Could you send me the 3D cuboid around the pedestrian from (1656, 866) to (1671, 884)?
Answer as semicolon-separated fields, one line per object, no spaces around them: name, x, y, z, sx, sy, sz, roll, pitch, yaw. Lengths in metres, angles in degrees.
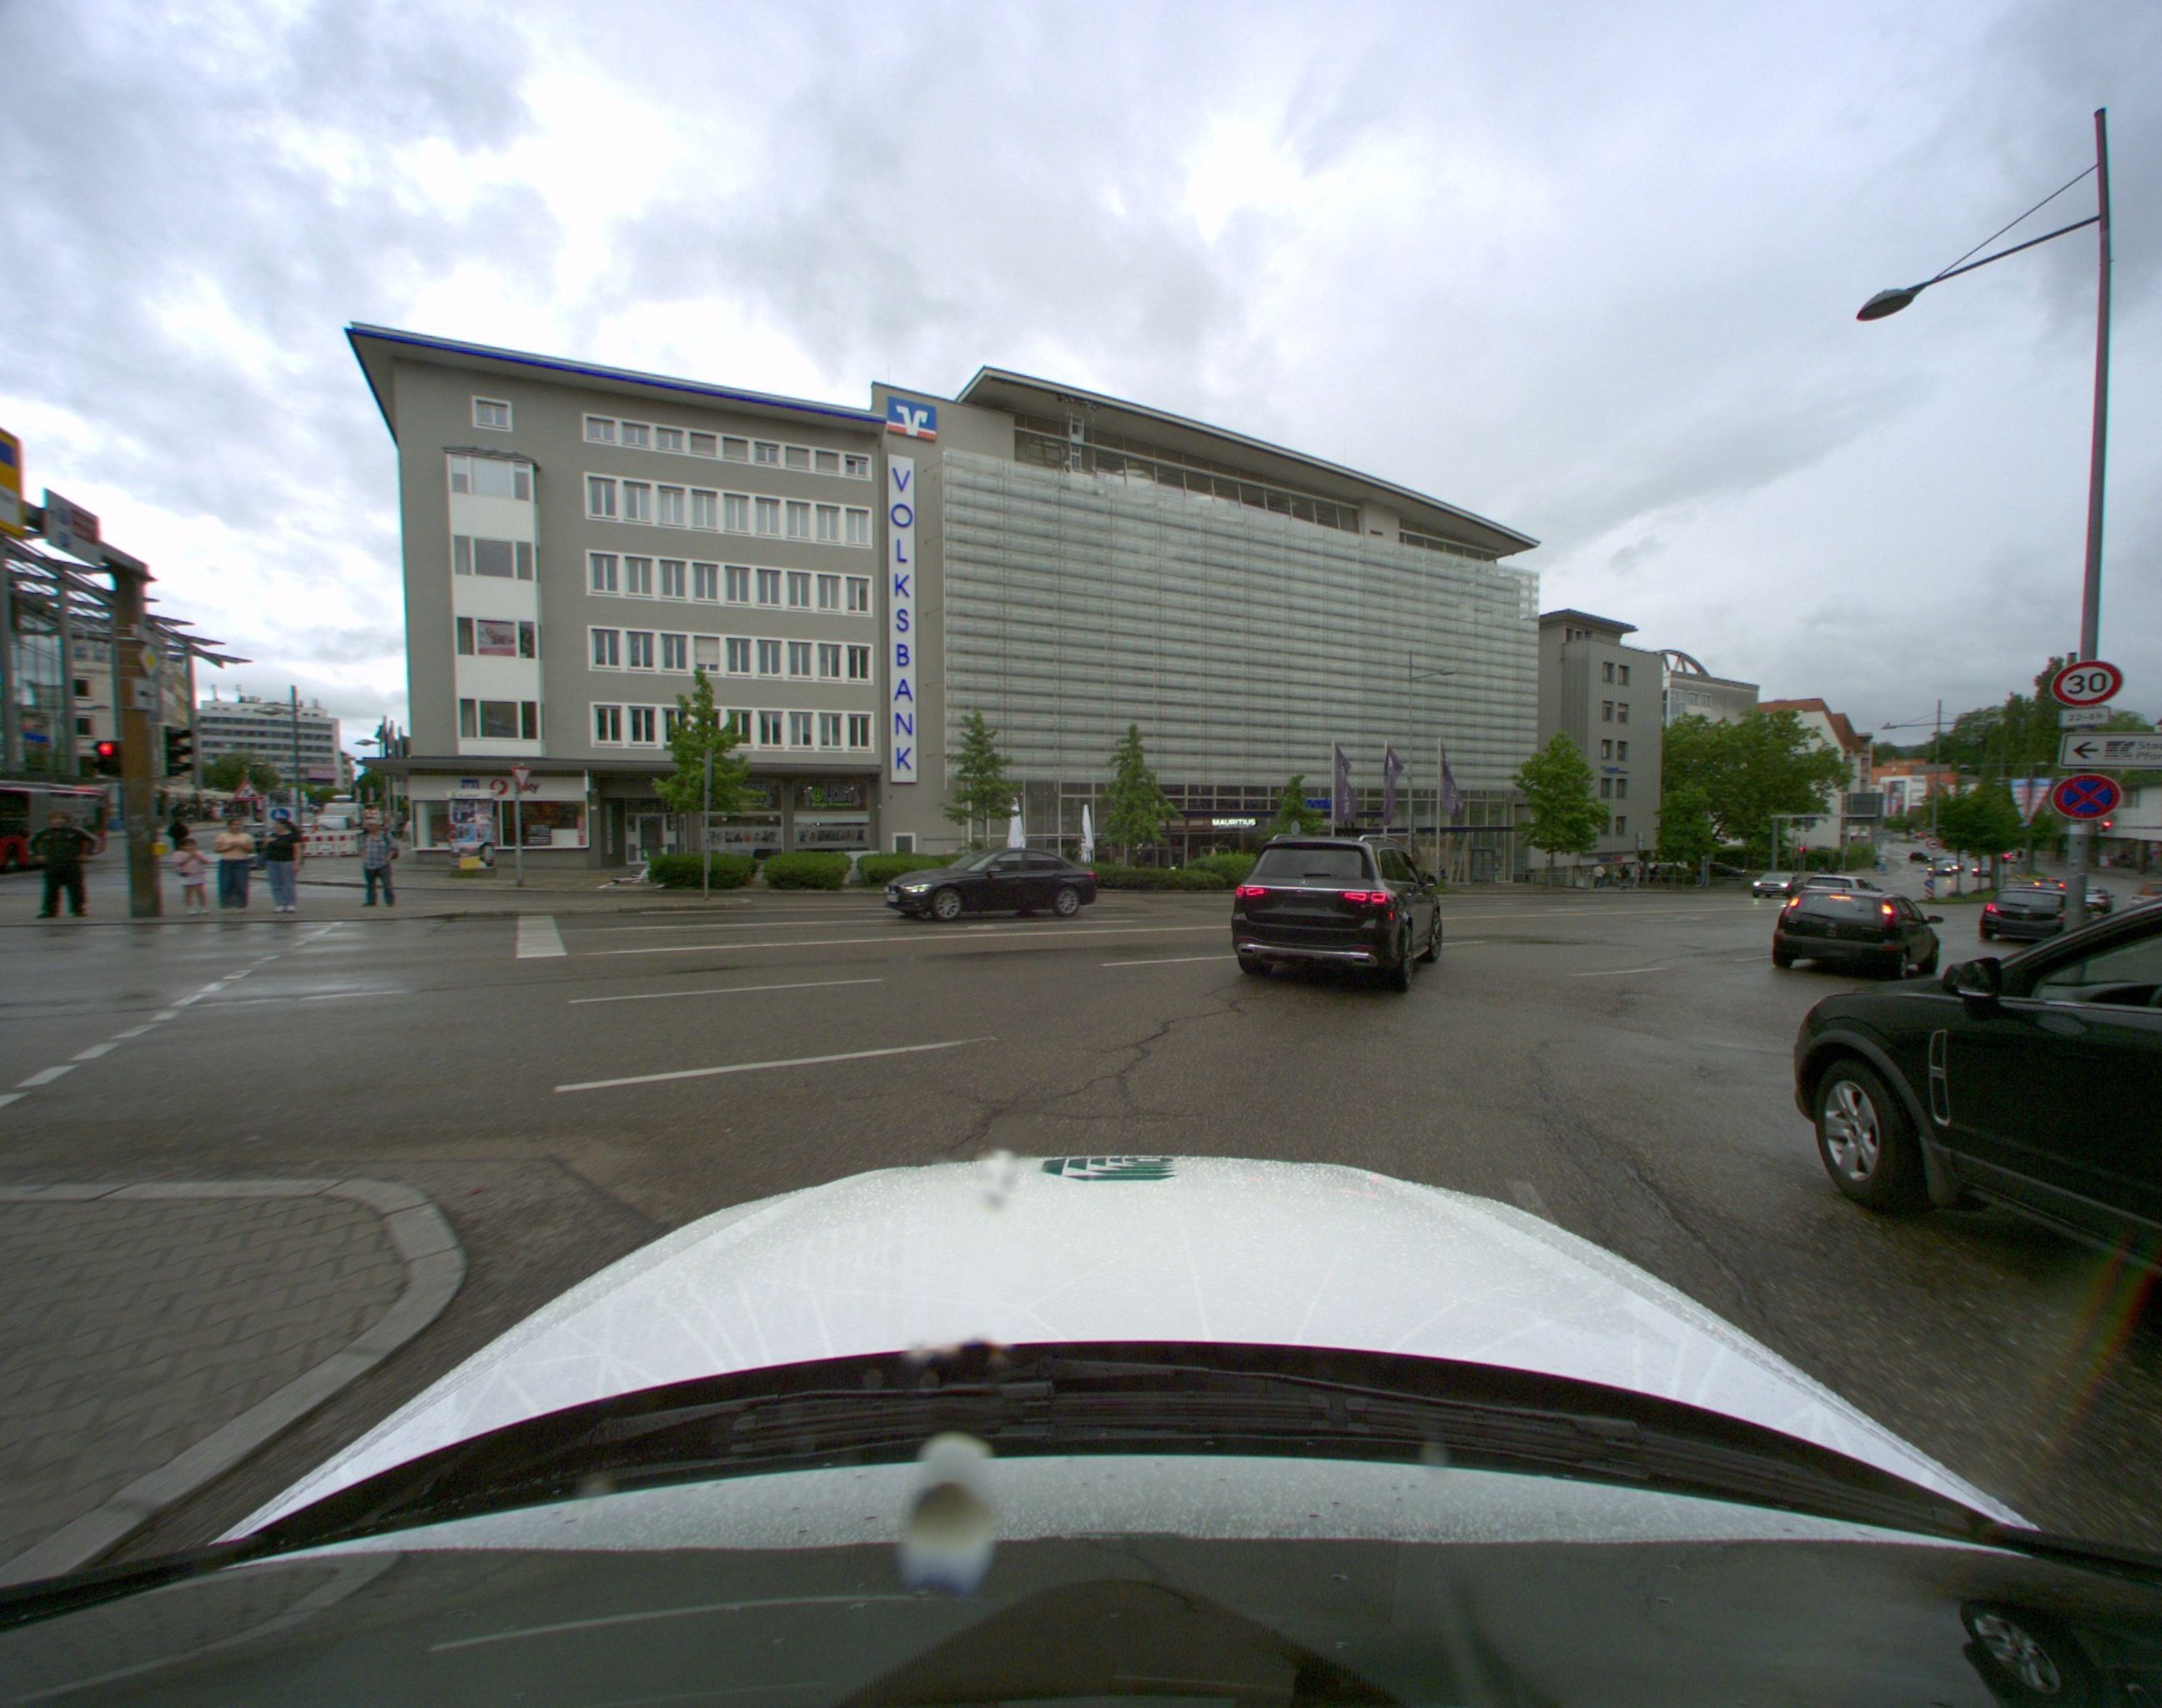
pedestrian;58.330;2.127;81.568;0.952;1.722;0.754;1;0;-21

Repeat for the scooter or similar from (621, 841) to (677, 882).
scooter or similar;-14.507;0.241;27.418;1.500;1.256;0.926;1;5;-17

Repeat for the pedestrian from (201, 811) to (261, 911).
pedestrian;-14.475;0.116;13.881;0.572;1.668;0.497;0;1;-30

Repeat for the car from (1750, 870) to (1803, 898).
car;41.009;1.724;48.096;1.823;1.552;4.119;0;-1;33

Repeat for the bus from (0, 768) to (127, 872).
bus;-37.124;-1.131;27.013;2.943;3.320;18.276;0;1;-36

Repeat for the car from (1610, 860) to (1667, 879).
car;63.729;1.795;93.113;5.026;1.758;2.012;5;3;44

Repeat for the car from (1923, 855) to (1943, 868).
car;117.134;1.028;112.017;4.023;1.549;1.762;1;2;-45

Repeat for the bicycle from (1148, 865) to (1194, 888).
bicycle;4.294;1.063;38.780;2.146;0.993;0.689;0;1;-23

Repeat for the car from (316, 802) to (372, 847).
car;-51.582;-2.041;57.108;2.464;2.957;6.083;1;1;-39

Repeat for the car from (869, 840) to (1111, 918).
car;-1.816;0.483;17.054;4.653;1.425;1.978;1;0;-36

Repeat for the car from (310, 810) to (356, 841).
car;-47.649;-1.805;51.951;1.876;1.826;4.057;1;1;-39

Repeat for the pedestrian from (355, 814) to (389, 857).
pedestrian;-29.837;-0.756;34.274;1.031;1.775;0.790;1;0;-42

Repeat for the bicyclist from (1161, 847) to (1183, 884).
bicyclist;4.353;0.537;38.799;0.848;1.704;0.618;-1;1;-23

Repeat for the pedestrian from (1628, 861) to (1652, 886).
pedestrian;38.841;1.337;56.580;1.092;1.722;0.968;1;0;-27

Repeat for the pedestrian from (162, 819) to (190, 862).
pedestrian;-39.197;-0.575;35.273;0.630;1.803;0.895;1;0;-38

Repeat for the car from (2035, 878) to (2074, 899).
car;76.175;2.657;63.717;4.018;1.468;1.780;1;2;-38

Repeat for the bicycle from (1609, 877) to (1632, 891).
bicycle;44.503;2.475;67.159;2.681;1.086;0.607;2;1;-35

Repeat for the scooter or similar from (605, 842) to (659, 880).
scooter or similar;-14.193;0.209;25.750;1.383;1.187;0.541;-1;1;-17

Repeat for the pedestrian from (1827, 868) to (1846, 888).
pedestrian;71.730;2.264;77.310;0.840;1.882;1.057;1;0;-28

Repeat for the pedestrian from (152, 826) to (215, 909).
pedestrian;-14.964;0.218;13.587;0.635;1.339;0.581;1;0;-42

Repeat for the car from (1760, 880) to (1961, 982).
car;13.705;1.240;14.274;3.784;1.419;1.705;1;2;-34

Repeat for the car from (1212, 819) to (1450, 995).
car;3.660;0.570;11.145;2.068;1.817;4.821;2;0;29

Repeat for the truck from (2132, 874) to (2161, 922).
truck;50.398;2.027;37.636;5.629;2.082;2.167;1;2;-38

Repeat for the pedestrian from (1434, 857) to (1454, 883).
pedestrian;21.065;0.942;47.256;0.846;1.456;0.648;1;0;-27

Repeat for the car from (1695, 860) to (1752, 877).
car;68.953;1.541;87.487;4.550;1.482;1.953;5;3;44

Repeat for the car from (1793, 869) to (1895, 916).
car;28.837;1.407;30.753;4.016;1.573;1.936;1;2;-35

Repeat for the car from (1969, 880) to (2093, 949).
car;26.086;1.574;22.340;4.018;1.573;1.935;1;2;-37

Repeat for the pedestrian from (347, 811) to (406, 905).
pedestrian;-13.701;0.069;15.837;0.837;1.778;0.610;1;0;-42

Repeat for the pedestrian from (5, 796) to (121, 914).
pedestrian;-16.293;0.012;13.069;1.019;1.787;0.843;1;0;-43

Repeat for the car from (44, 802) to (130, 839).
car;-59.773;-1.957;49.085;2.260;2.034;5.295;1;1;-40

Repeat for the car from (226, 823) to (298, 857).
car;-39.333;-0.689;39.213;1.750;1.527;3.957;1;1;-35

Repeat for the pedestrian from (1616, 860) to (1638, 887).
pedestrian;35.300;1.272;52.668;1.320;1.713;0.808;1;0;-41

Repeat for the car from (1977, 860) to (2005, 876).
car;97.369;1.465;87.139;4.019;1.549;1.805;1;2;-39

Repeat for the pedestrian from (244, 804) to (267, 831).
pedestrian;-59.657;-2.624;58.850;0.960;1.886;0.802;1;0;-30

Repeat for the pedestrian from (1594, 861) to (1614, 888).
pedestrian;34.489;1.321;53.686;0.983;1.722;1.045;1;0;38

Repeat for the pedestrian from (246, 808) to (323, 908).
pedestrian;-13.924;0.069;14.263;0.785;1.689;0.633;1;0;-28

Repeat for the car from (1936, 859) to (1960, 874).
car;94.914;1.368;89.129;3.882;1.450;1.692;1;2;-42

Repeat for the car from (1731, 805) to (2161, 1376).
car;4.348;0.761;2.462;1.895;1.785;4.315;1;1;11

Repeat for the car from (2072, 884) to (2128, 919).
car;54.707;2.529;43.695;4.019;1.542;1.747;-1;3;-37

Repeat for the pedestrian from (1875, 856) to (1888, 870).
pedestrian;94.127;1.005;95.814;0.916;1.608;0.566;1;0;15
